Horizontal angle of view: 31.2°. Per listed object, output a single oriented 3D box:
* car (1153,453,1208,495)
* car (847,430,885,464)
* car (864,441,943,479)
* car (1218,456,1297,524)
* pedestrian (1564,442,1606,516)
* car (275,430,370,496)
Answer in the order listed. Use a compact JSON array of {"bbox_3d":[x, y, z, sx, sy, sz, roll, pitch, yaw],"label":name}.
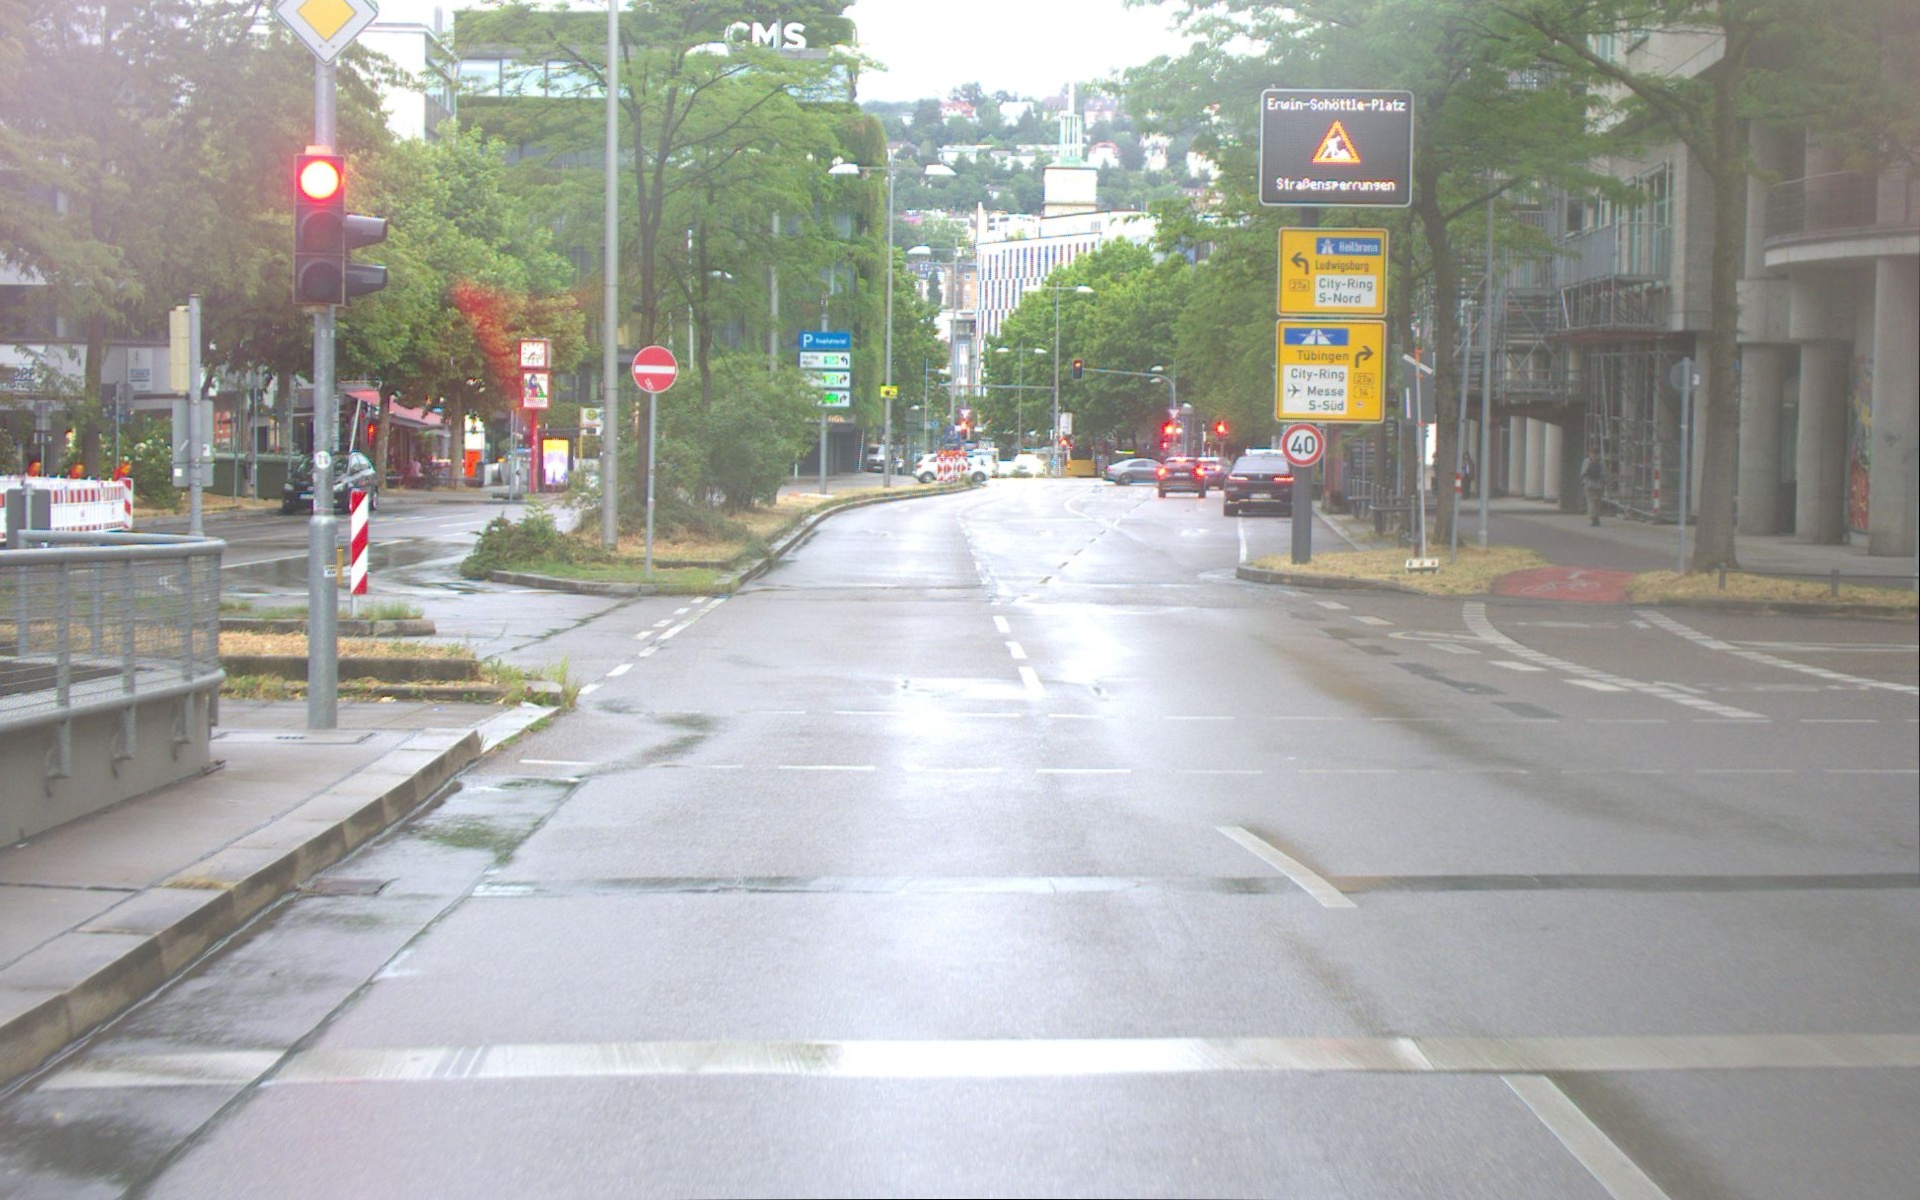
[{"bbox_3d":[8.304,-4.739,129.773,1.746,1.513,4.107,1,2,-1],"label":"car"},{"bbox_3d":[-6.273,-10.240,229.727,2.128,2.157,5.197,2,2,2],"label":"car"},{"bbox_3d":[-3.054,-7.526,185.237,4.055,1.898,1.955,1,2,-6],"label":"car"},{"bbox_3d":[7.708,-2.854,89.286,1.901,1.678,3.911,2,2,4],"label":"car"},{"bbox_3d":[13.387,-2.592,73.617,0.786,1.552,0.533,2,2,4],"label":"pedestrian"},{"bbox_3d":[-16.487,-3.573,89.052,1.780,1.550,3.894,1,4,-1],"label":"car"}]
